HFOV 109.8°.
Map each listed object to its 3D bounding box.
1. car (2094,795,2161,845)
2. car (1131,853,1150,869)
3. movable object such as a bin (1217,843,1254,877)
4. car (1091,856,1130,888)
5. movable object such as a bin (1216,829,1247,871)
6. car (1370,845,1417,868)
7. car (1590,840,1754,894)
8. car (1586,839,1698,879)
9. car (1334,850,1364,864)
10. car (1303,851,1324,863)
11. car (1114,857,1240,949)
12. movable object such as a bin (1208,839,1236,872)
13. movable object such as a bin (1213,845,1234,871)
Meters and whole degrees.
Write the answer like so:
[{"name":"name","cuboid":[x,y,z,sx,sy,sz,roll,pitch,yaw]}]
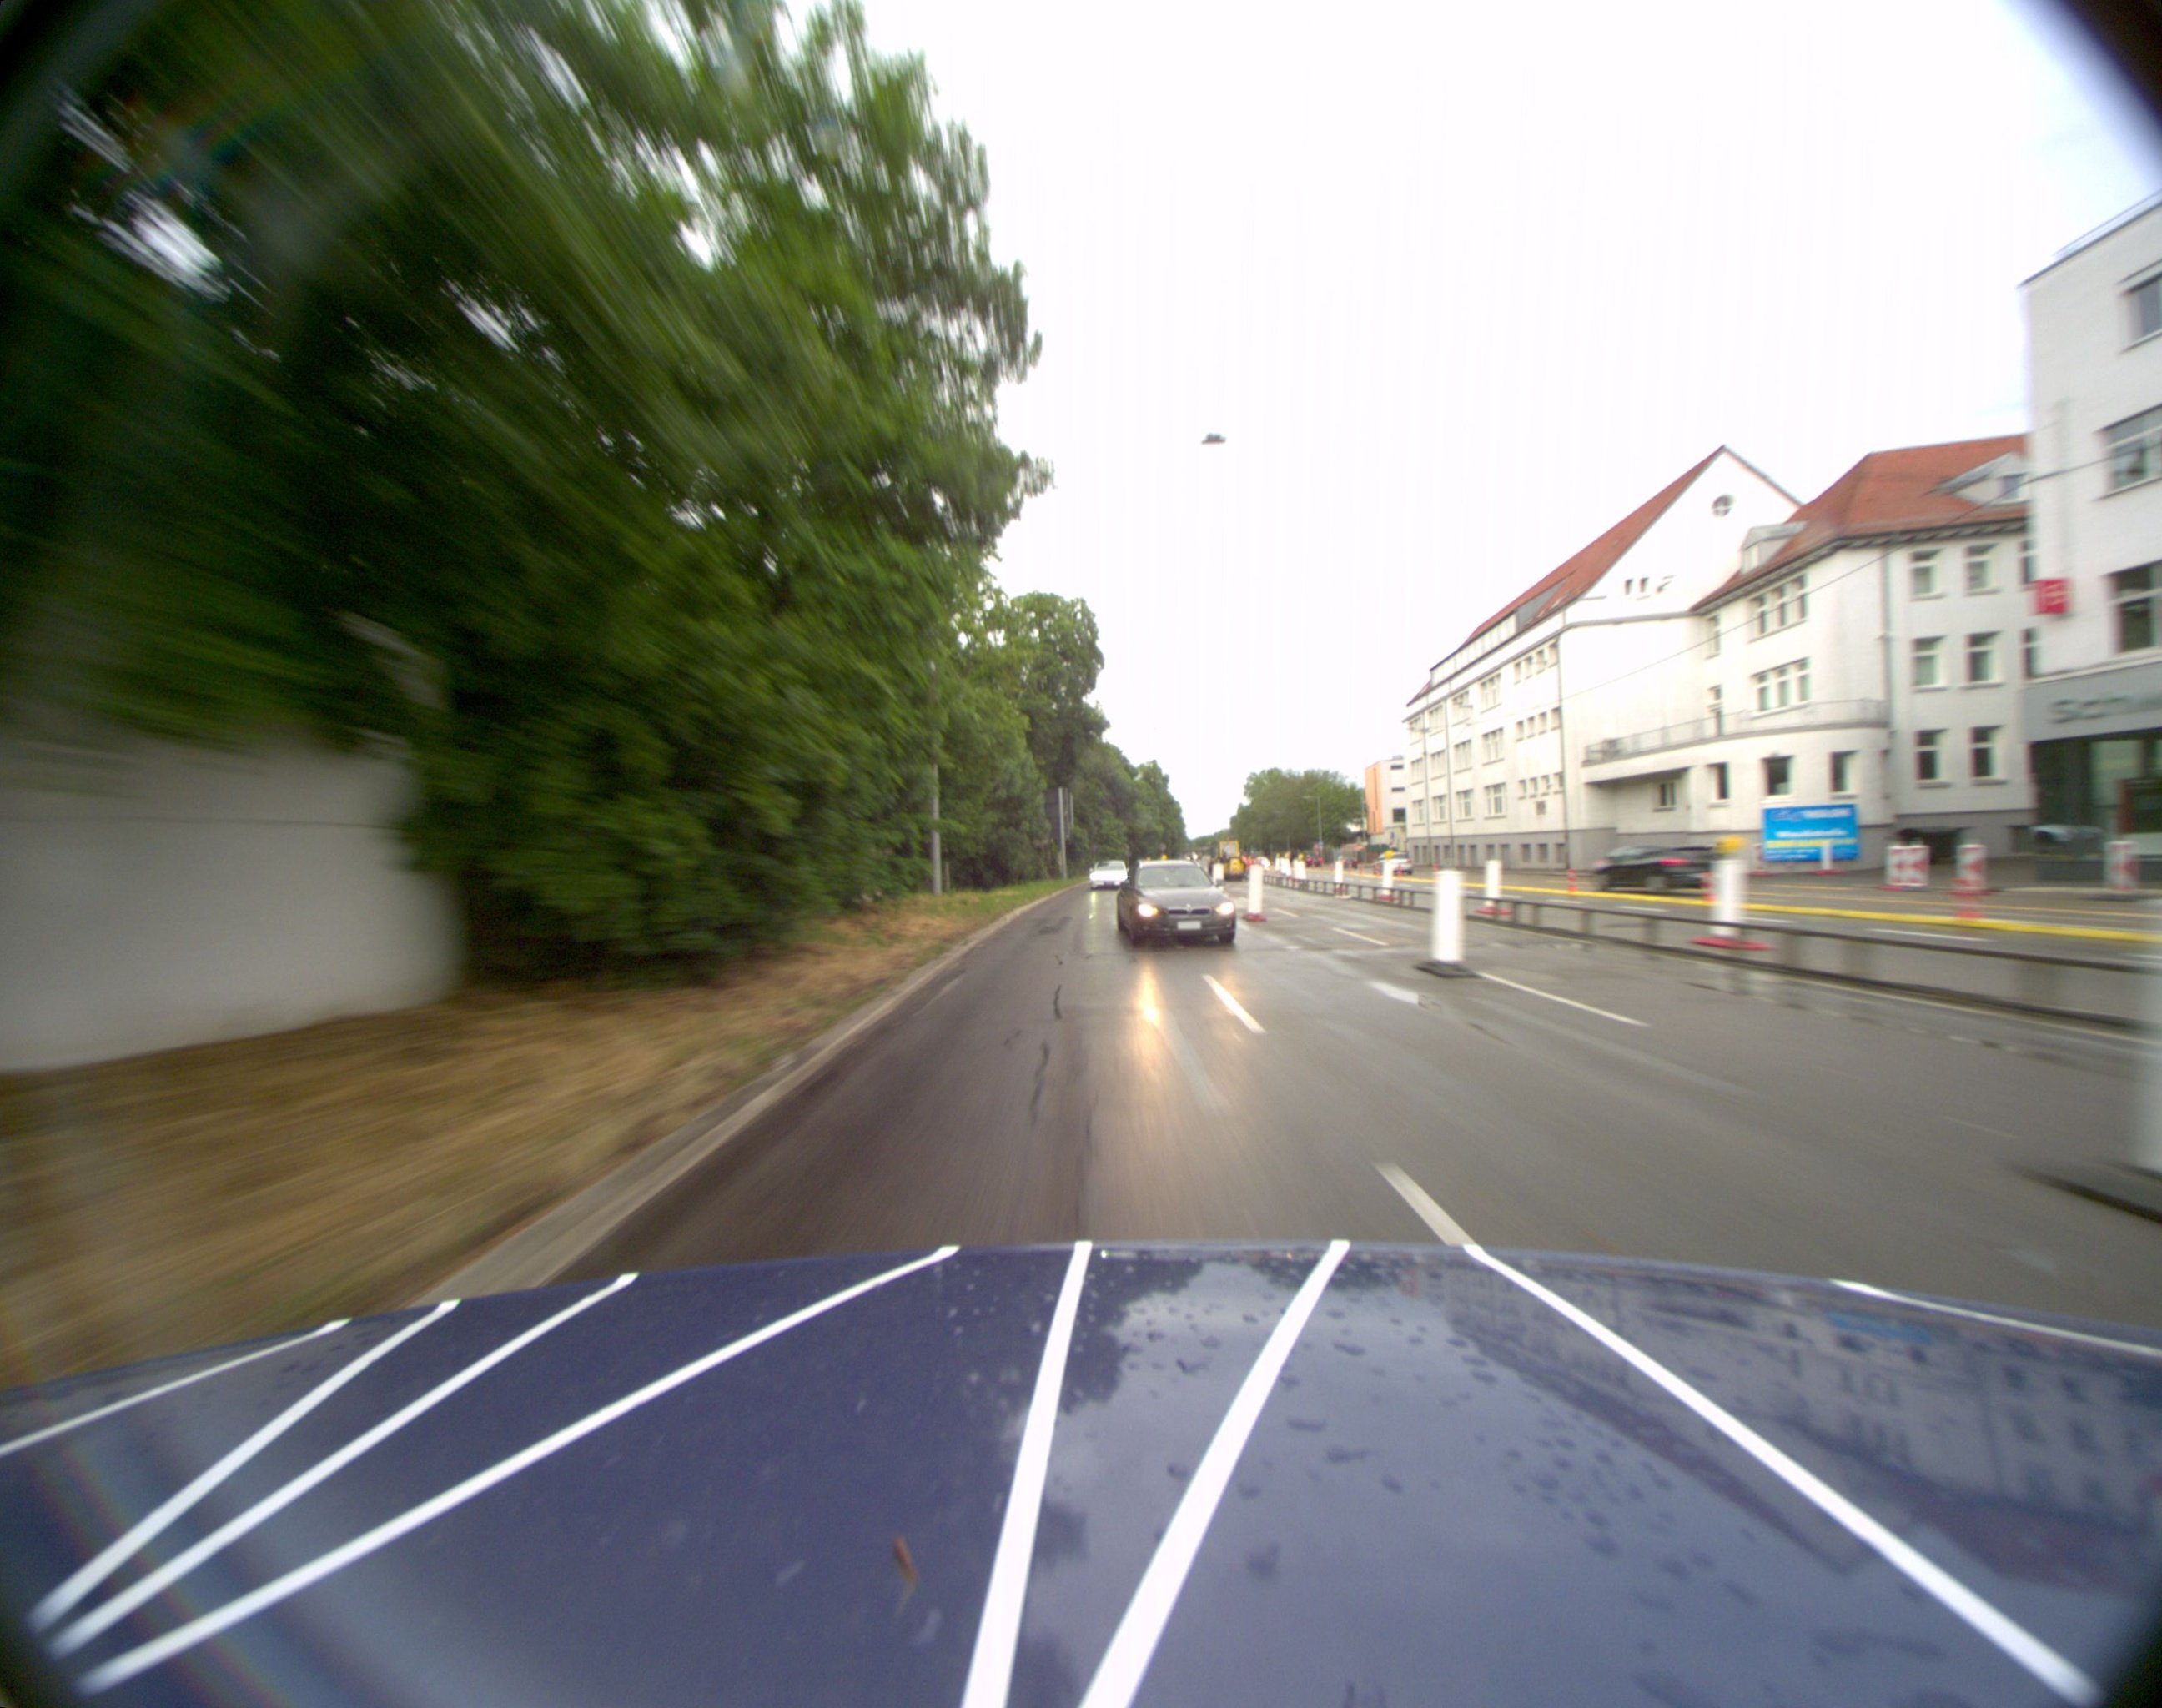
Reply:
[{"name":"car","cuboid":[40.946,-1.294,28.196,3.959,1.820,1.790,-2,1,7]},{"name":"car","cuboid":[7.145,0.786,91.459,1.998,1.740,3.999,-2,1,0]},{"name":"movable object such as a bin","cuboid":[10.137,0.363,49.971,1.997,2.099,3.851,-2,0,7]},{"name":"car","cuboid":[1.481,0.875,38.263,1.839,1.424,4.273,-2,1,2]},{"name":"movable object such as a bin","cuboid":[10.711,-0.278,54.163,1.826,2.895,3.609,-1,0,7]},{"name":"car","cuboid":[20.253,0.144,49.410,1.704,1.456,4.119,0,0,6]},{"name":"car","cuboid":[16.684,0.316,21.716,1.802,1.379,3.805,-2,1,2]},{"name":"car","cuboid":[21.578,0.143,29.416,1.738,1.406,3.709,-2,1,3]},{"name":"car","cuboid":[27.826,0.272,78.885,1.862,1.373,4.001,-1,0,3]},{"name":"car","cuboid":[31.051,0.384,101.430,1.997,1.575,4.213,-2,0,8]},{"name":"car","cuboid":[1.655,0.804,14.479,1.764,1.441,4.177,-2,0,-1]},{"name":"movable object such as a bin","cuboid":[12.588,0.119,68.109,2.125,2.821,4.481,-2,0,7]},{"name":"movable object such as a bin","cuboid":[11.743,0.354,62.717,1.399,2.032,4.088,-2,0,7]}]
